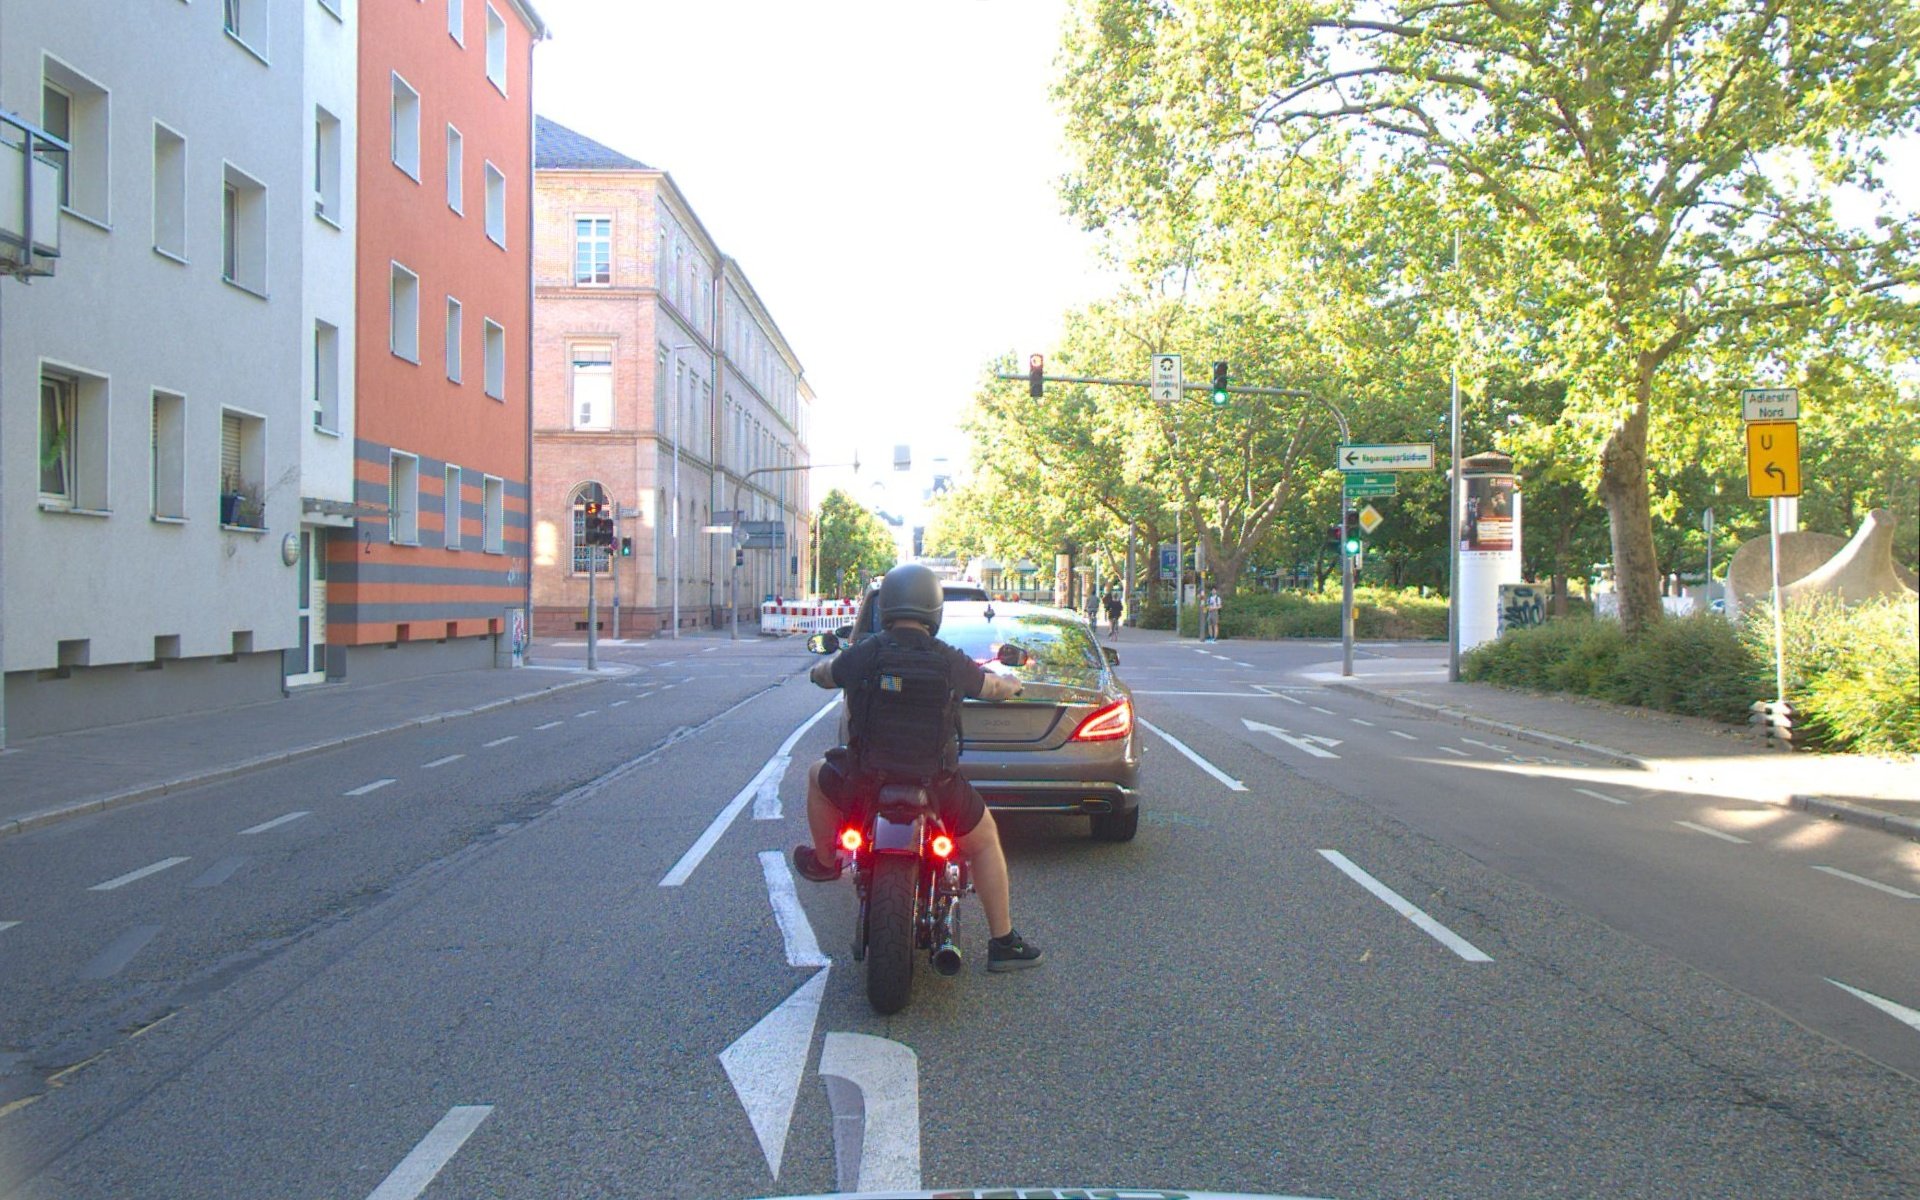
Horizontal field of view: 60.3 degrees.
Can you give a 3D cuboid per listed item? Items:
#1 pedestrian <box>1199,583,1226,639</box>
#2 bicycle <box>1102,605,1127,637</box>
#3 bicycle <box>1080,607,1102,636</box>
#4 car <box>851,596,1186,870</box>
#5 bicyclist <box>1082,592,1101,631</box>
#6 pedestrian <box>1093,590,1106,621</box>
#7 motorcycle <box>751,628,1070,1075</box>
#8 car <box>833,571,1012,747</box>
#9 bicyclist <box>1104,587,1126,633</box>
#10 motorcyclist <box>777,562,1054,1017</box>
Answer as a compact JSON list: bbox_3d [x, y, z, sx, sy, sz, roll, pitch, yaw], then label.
[{"bbox_3d":[8.334,0.355,54.599,0.566,1.805,0.618,2,-1,-35],"label":"pedestrian"},{"bbox_3d":[5.357,0.716,57.374,0.643,1.089,1.926,2,0,-1],"label":"bicycle"},{"bbox_3d":[5.288,0.853,66.894,0.643,1.131,2.185,2,0,-1],"label":"bicycle"},{"bbox_3d":[0.289,0.716,10.831,1.791,1.445,3.814,1,0,-1],"label":"car"},{"bbox_3d":[5.306,0.464,66.865,0.643,1.557,0.906,2,0,-1],"label":"bicyclist"},{"bbox_3d":[7.378,0.307,87.315,0.580,1.606,0.527,2,0,-1],"label":"pedestrian"},{"bbox_3d":[-0.175,0.806,6.496,0.991,1.329,2.672,0,0,-1],"label":"motorcycle"},{"bbox_3d":[-0.509,0.581,18.068,1.599,1.679,3.845,2,0,-6],"label":"car"},{"bbox_3d":[5.377,0.334,57.329,0.643,1.557,0.852,2,0,-1],"label":"bicyclist"},{"bbox_3d":[-0.169,0.676,6.649,0.991,1.630,1.406,0,0,-1],"label":"motorcyclist"}]
